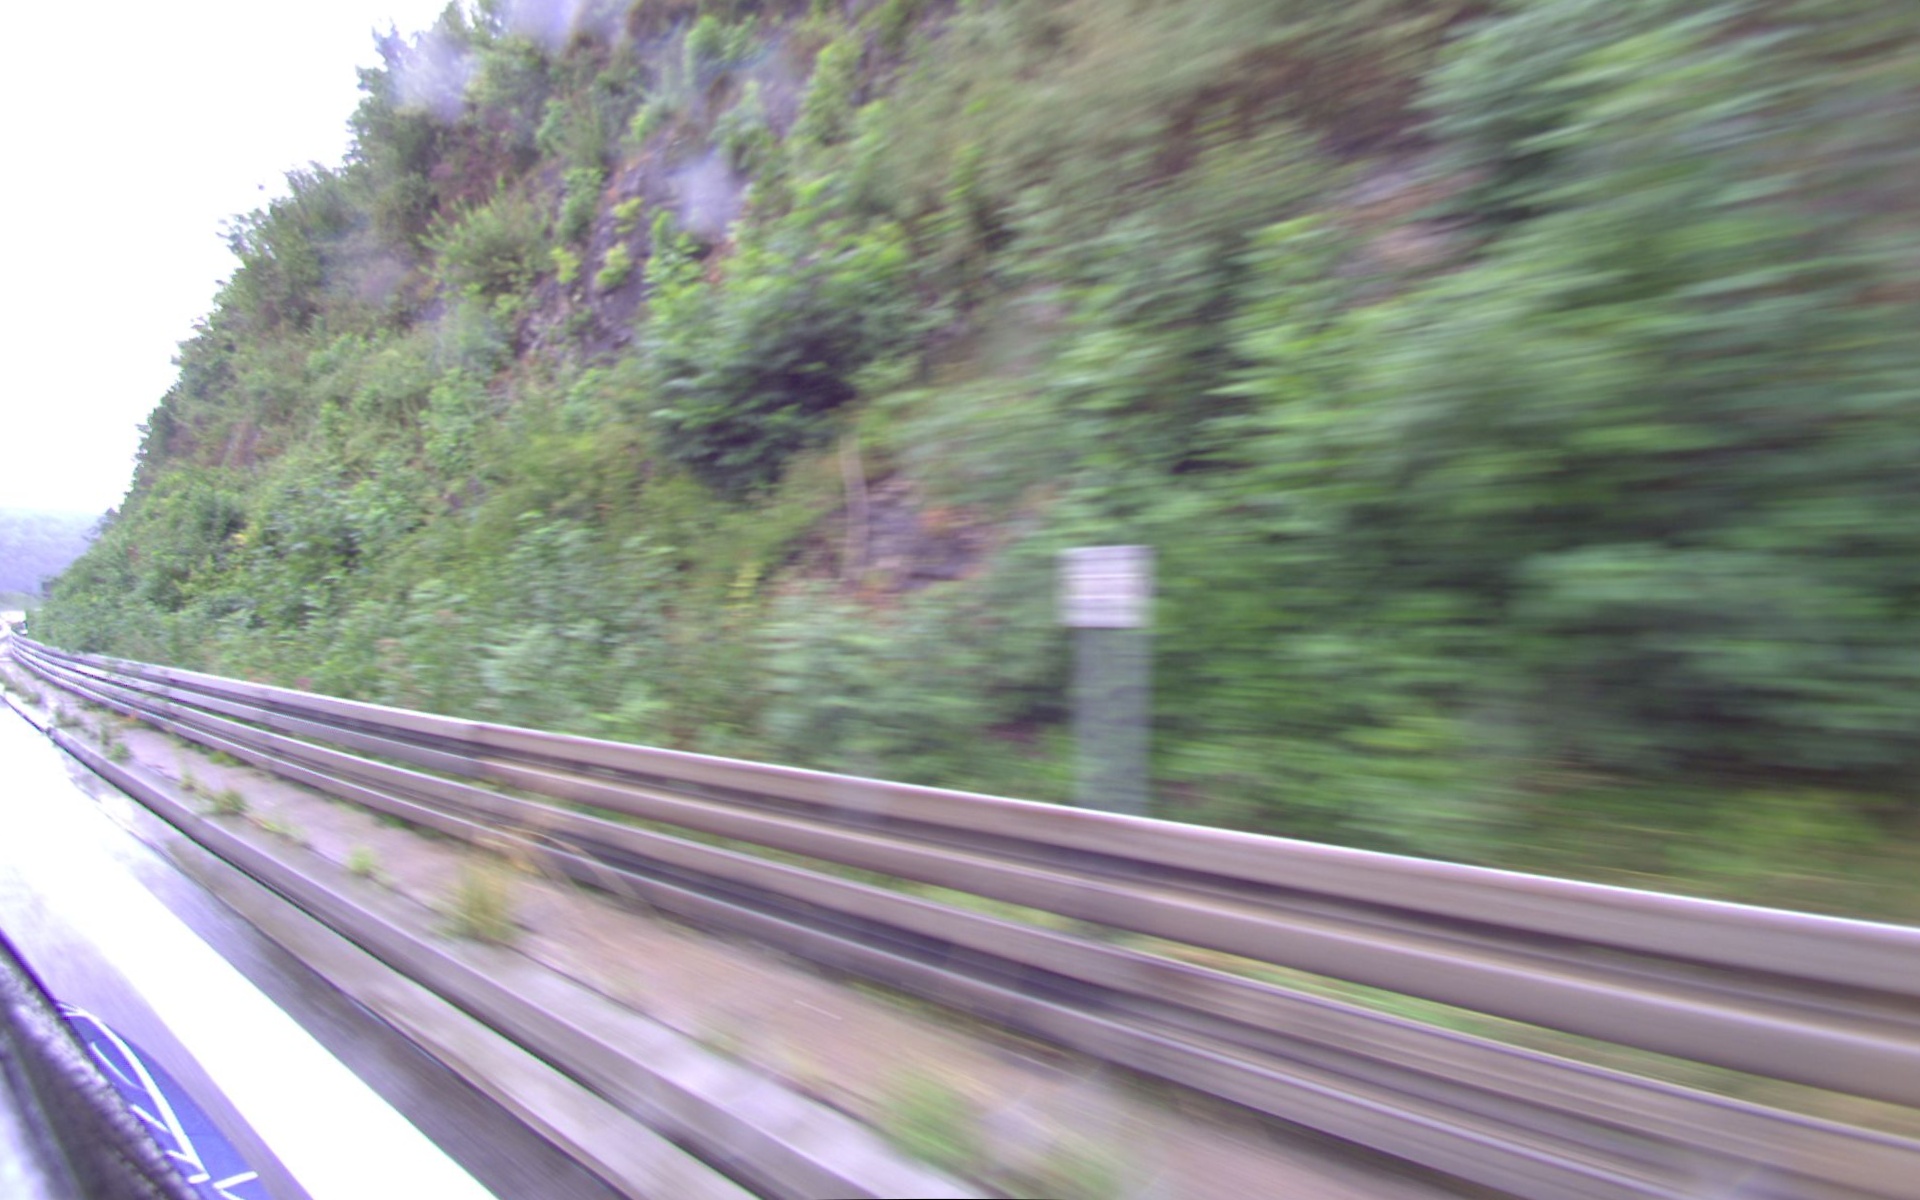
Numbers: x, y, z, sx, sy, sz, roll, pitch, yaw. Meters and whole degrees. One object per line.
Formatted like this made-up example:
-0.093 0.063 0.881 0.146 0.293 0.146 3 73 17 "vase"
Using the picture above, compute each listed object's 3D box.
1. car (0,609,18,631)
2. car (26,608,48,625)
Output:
-86.824 1.799 91.953 3.754 1.920 1.570 -1 0 44 "car"
-108.690 1.921 119.159 1.881 2.029 4.004 0 0 -43 "car"
